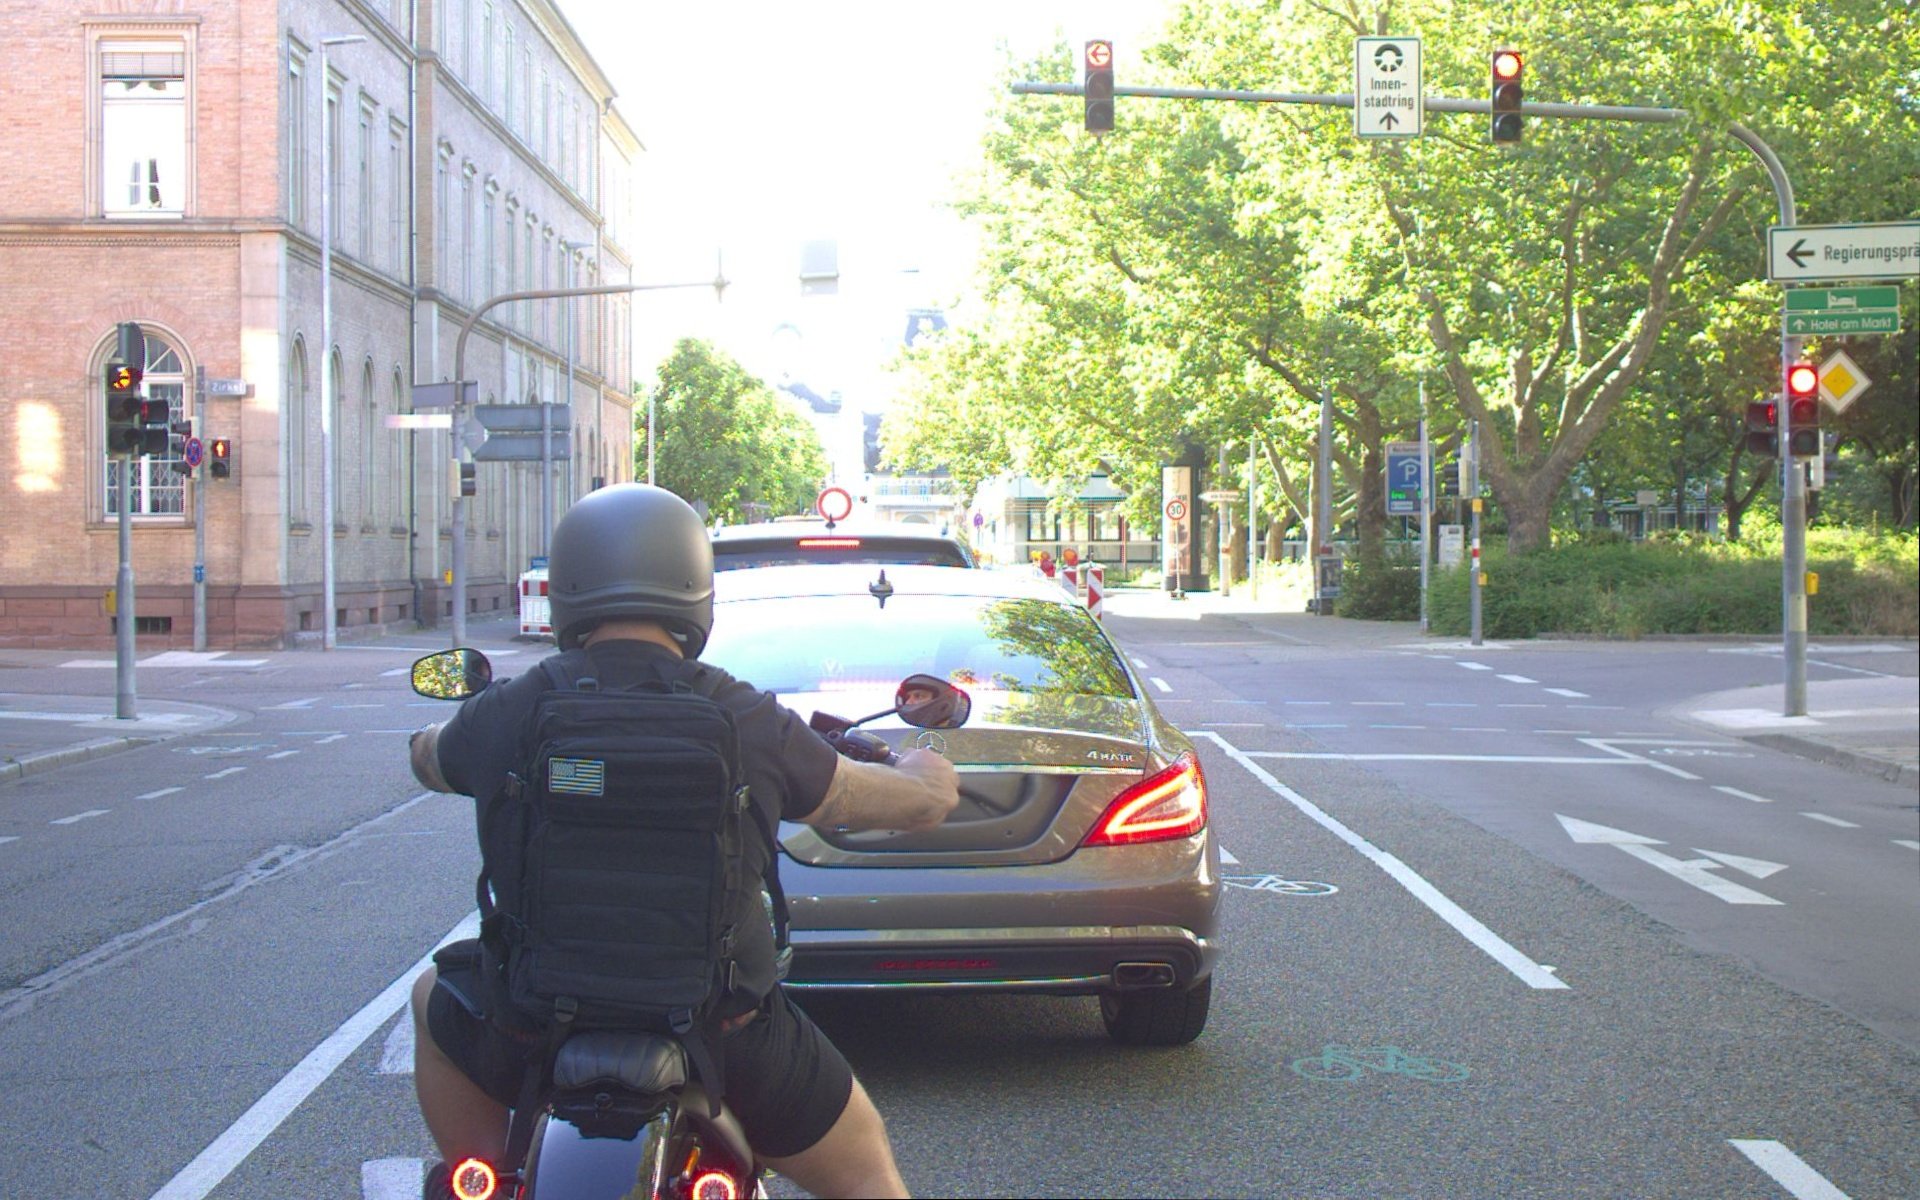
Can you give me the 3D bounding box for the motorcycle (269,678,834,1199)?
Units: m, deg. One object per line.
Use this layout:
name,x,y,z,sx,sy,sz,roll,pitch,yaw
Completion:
motorcycle,-0.563,0.780,5.411,0.660,1.236,2.058,1,1,-1

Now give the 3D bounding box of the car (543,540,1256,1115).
car,-0.407,0.572,11.117,1.824,1.481,4.334,1,1,-7

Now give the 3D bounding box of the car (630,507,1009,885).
car,-0.640,0.406,17.183,1.651,1.646,4.000,1,1,-1

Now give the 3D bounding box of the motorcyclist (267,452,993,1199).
motorcyclist,-0.466,0.599,5.317,0.990,1.605,1.120,1,0,-1
